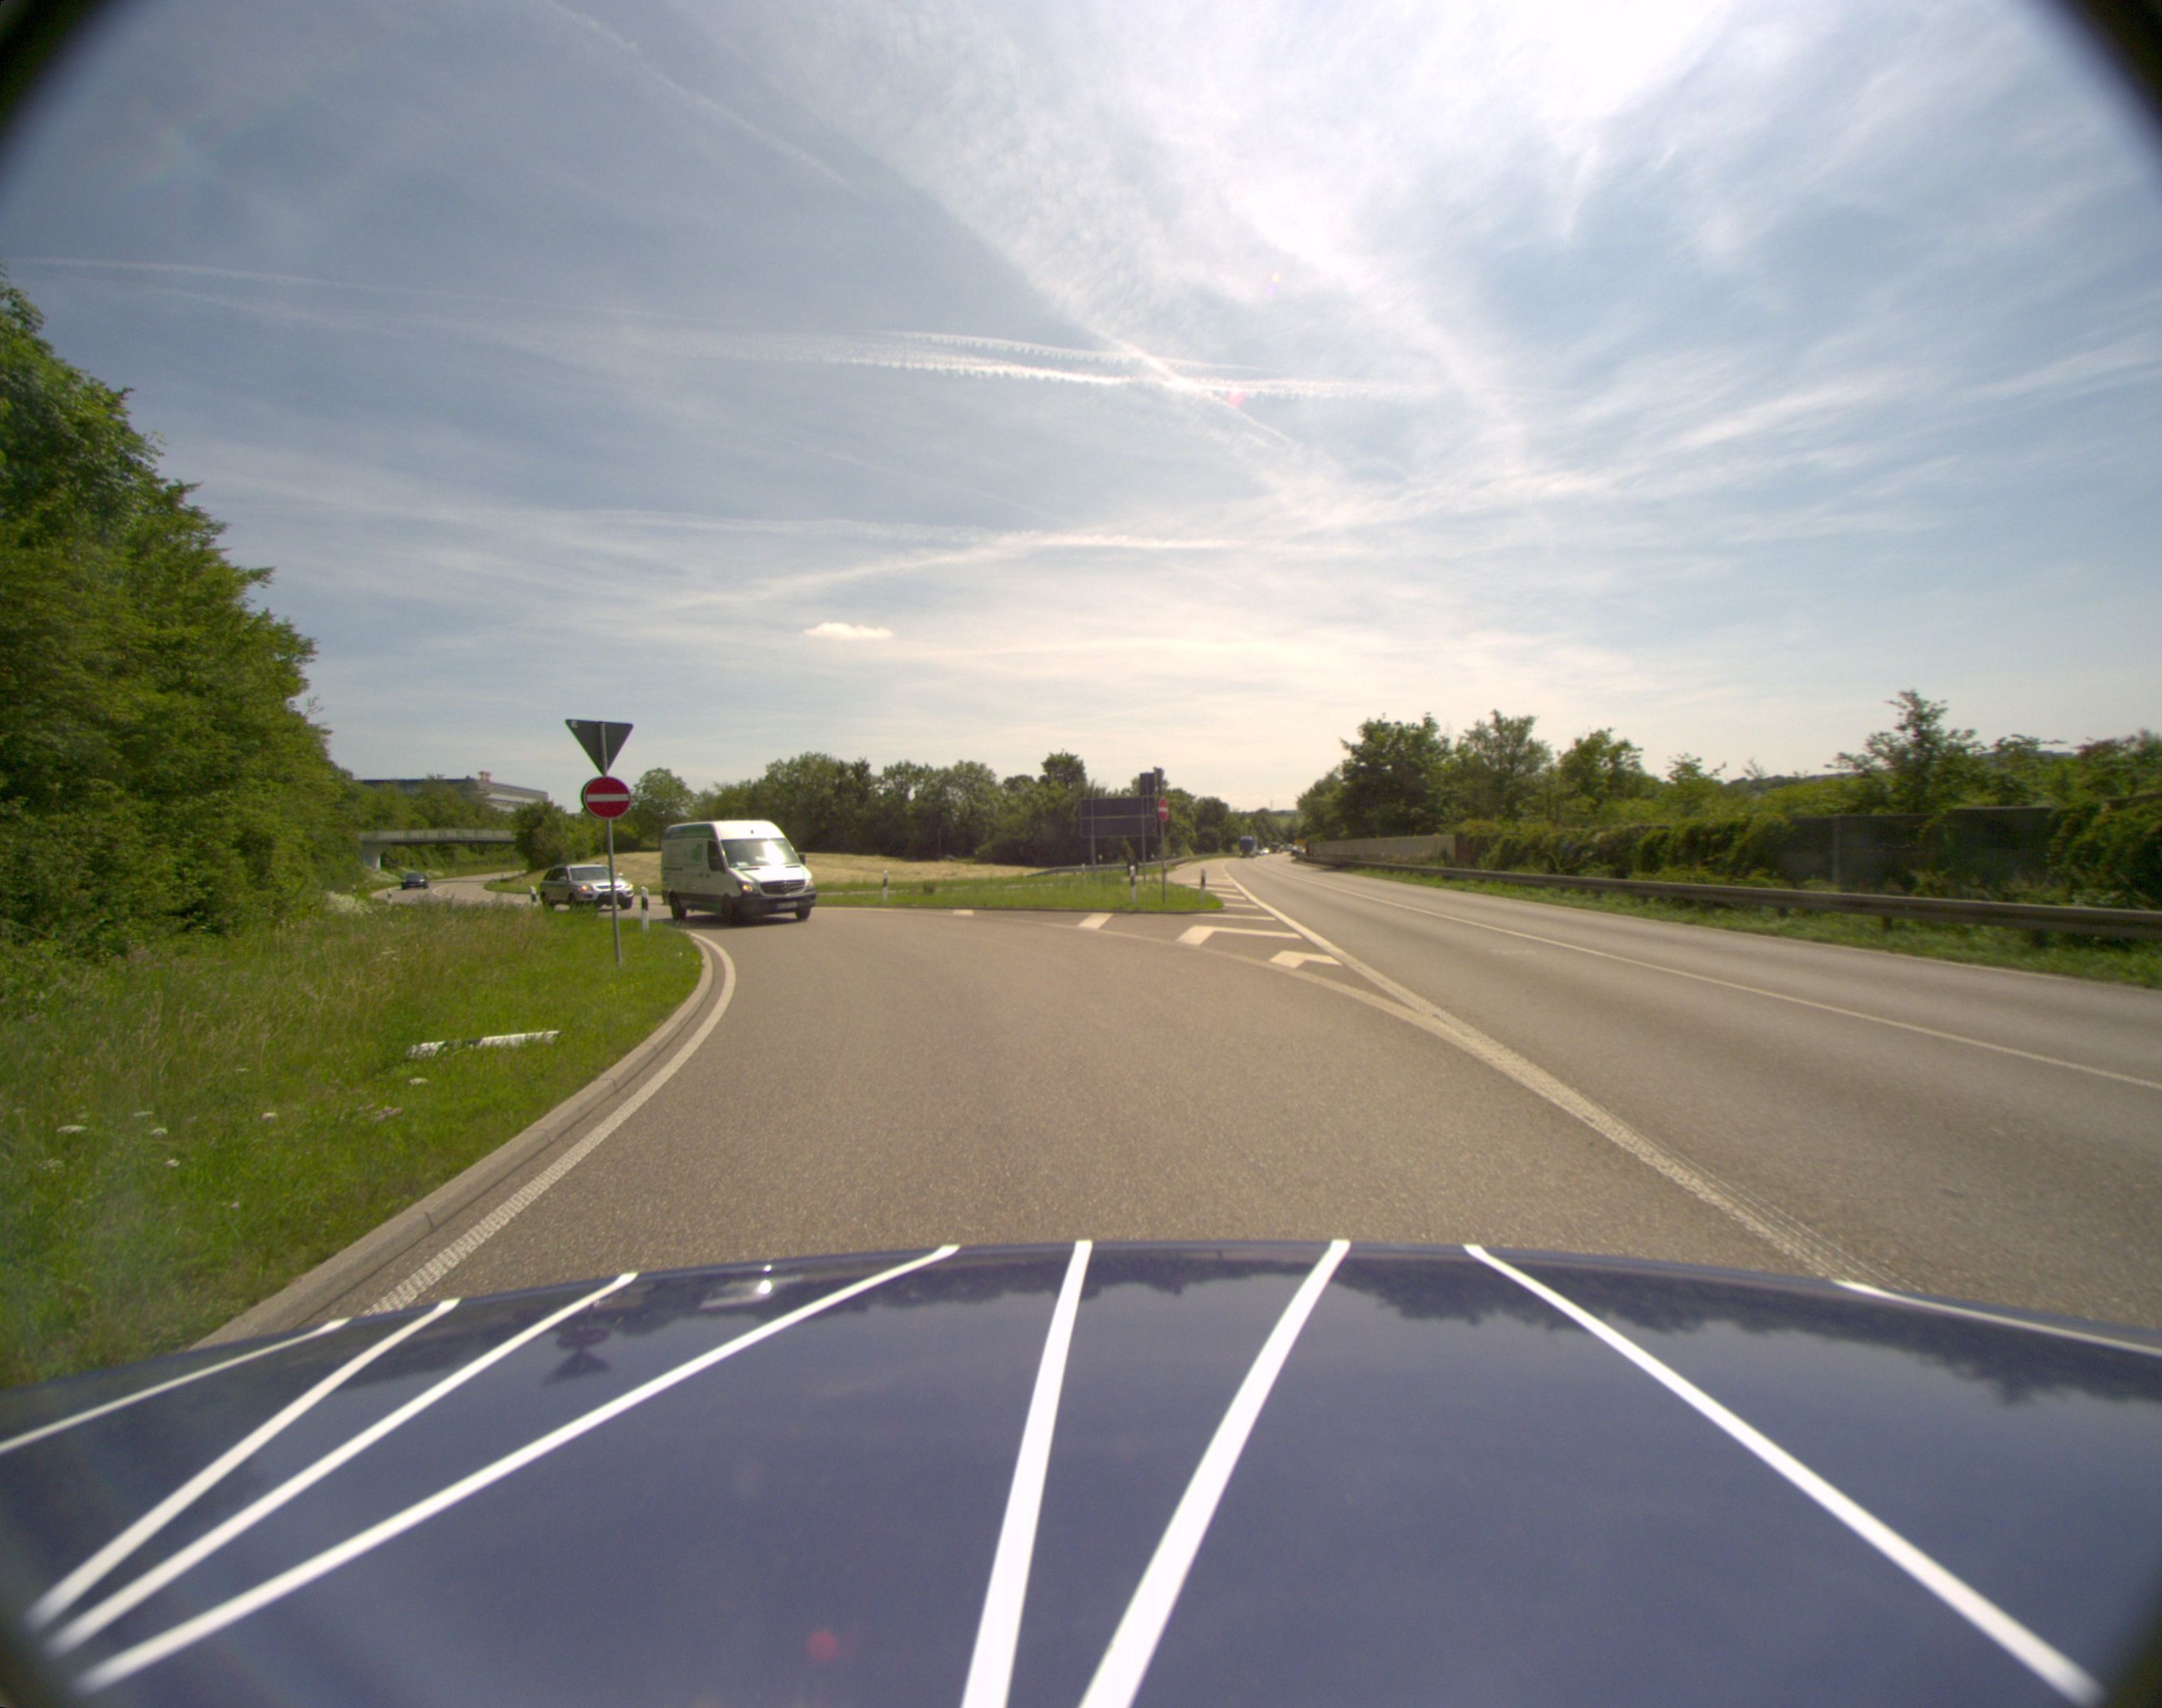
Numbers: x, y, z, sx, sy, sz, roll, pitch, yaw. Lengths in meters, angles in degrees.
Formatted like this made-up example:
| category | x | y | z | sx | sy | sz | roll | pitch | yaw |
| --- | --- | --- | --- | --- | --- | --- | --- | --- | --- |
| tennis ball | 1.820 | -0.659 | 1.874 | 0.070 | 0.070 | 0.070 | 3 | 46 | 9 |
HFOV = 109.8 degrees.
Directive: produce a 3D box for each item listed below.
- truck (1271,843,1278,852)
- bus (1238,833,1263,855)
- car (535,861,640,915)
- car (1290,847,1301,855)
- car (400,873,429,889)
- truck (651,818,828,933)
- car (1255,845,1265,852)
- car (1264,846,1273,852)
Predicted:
| category | x | y | z | sx | sy | sz | roll | pitch | yaw |
| --- | --- | --- | --- | --- | --- | --- | --- | --- | --- |
| truck | 57.407 | -1.870 | 225.328 | 1.996 | 2.584 | 5.826 | -1 | 1 | 16 |
| bus | 32.193 | -1.822 | 143.978 | 3.346 | 4.045 | 10.527 | 0 | 1 | 20 |
| car | -17.605 | 1.180 | 27.036 | 4.077 | 1.698 | 1.854 | -2 | 1 | 38 |
| car | 44.333 | -0.659 | 157.202 | 1.751 | 1.530 | 4.112 | -2 | 1 | 21 |
| car | -65.227 | 2.616 | 74.385 | 1.964 | 1.414 | 3.926 | -1 | -1 | -44 |
| truck | -9.061 | 0.495 | 19.823 | 5.870 | 2.571 | 2.004 | -1 | 2 | 43 |
| car | 43.219 | -1.247 | 182.958 | 1.996 | 1.632 | 4.005 | 0 | 0 | 18 |
| car | 49.857 | -1.376 | 202.119 | 1.996 | 1.636 | 4.005 | -1 | 0 | 18 |
